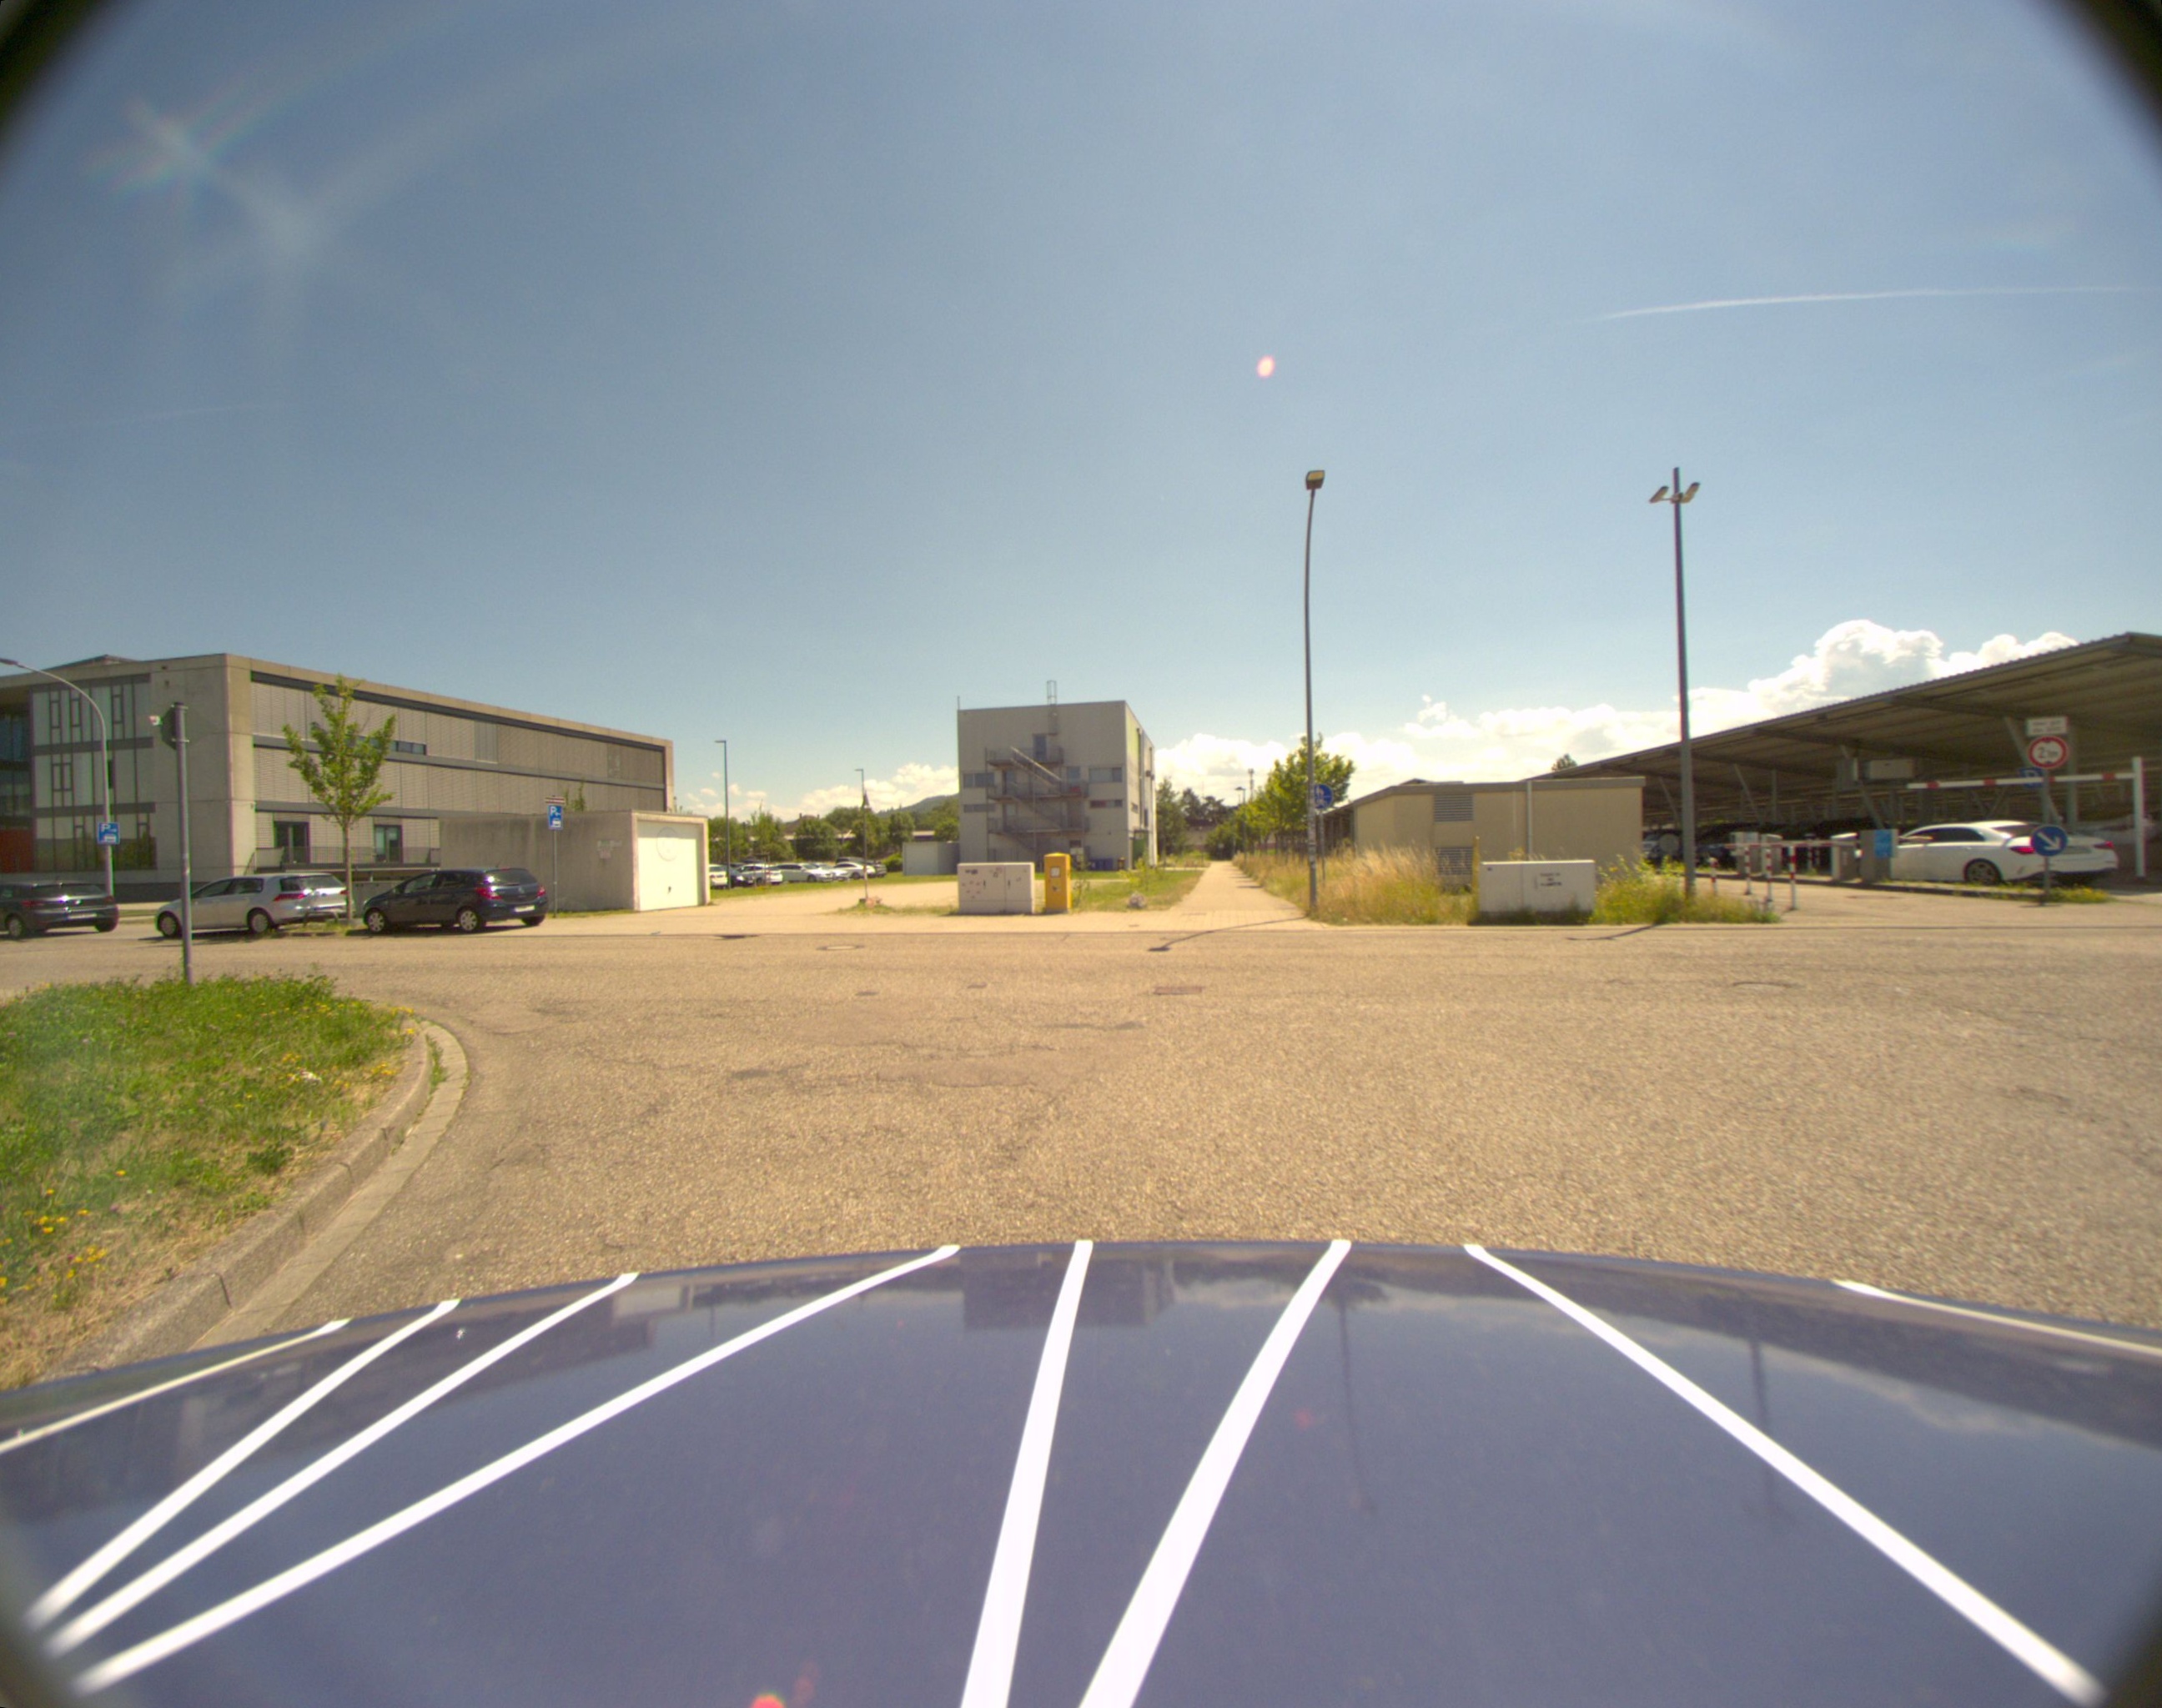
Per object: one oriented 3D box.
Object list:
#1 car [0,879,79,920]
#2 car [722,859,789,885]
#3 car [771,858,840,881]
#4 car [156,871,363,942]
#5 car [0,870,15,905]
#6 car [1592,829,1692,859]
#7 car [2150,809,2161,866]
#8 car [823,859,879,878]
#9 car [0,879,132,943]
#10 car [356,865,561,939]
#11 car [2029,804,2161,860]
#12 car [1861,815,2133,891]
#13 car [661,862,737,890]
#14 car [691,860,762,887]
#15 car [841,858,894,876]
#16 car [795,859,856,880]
[{"bbox_3d":[-44.186,1.917,31.119,1.659,1.461,3.623,-3,3,-10],"label":"car"},{"bbox_3d":[-21.037,1.153,49.173,3.622,1.492,1.660,-2,1,11],"label":"car"},{"bbox_3d":[-19.821,1.126,54.738,4.364,1.458,1.710,-2,1,11],"label":"car"},{"bbox_3d":[-20.142,1.270,18.699,3.622,1.492,1.659,-2,3,10],"label":"car"},{"bbox_3d":[-46.696,1.543,30.928,1.659,1.461,3.623,-3,3,-10],"label":"car"},{"bbox_3d":[28.848,-0.524,39.203,3.770,1.428,1.724,-1,0,9],"label":"car"},{"bbox_3d":[28.522,-0.450,17.898,3.770,1.428,1.724,-1,0,9],"label":"car"},{"bbox_3d":[-18.740,1.159,61.977,4.050,1.417,1.660,-2,1,11],"label":"car"},{"bbox_3d":[-27.708,1.490,20.117,3.622,1.461,1.659,-2,3,11],"label":"car"},{"bbox_3d":[-14.387,1.090,17.644,3.622,1.492,1.684,-2,3,11],"label":"car"},{"bbox_3d":[28.793,-0.594,20.547,3.770,1.428,1.724,-1,0,9],"label":"car"},{"bbox_3d":[19.669,-0.027,16.608,1.721,1.428,3.778,-1,0,9],"label":"car"},{"bbox_3d":[-22.233,1.294,44.255,3.622,1.492,1.660,-2,1,11],"label":"car"},{"bbox_3d":[-21.606,1.172,46.351,3.622,1.526,1.660,-2,1,11],"label":"car"},{"bbox_3d":[-18.358,1.093,65.355,4.050,1.379,1.660,-2,1,11],"label":"car"},{"bbox_3d":[-19.219,1.167,57.169,4.050,1.458,1.660,-2,1,11],"label":"car"}]
